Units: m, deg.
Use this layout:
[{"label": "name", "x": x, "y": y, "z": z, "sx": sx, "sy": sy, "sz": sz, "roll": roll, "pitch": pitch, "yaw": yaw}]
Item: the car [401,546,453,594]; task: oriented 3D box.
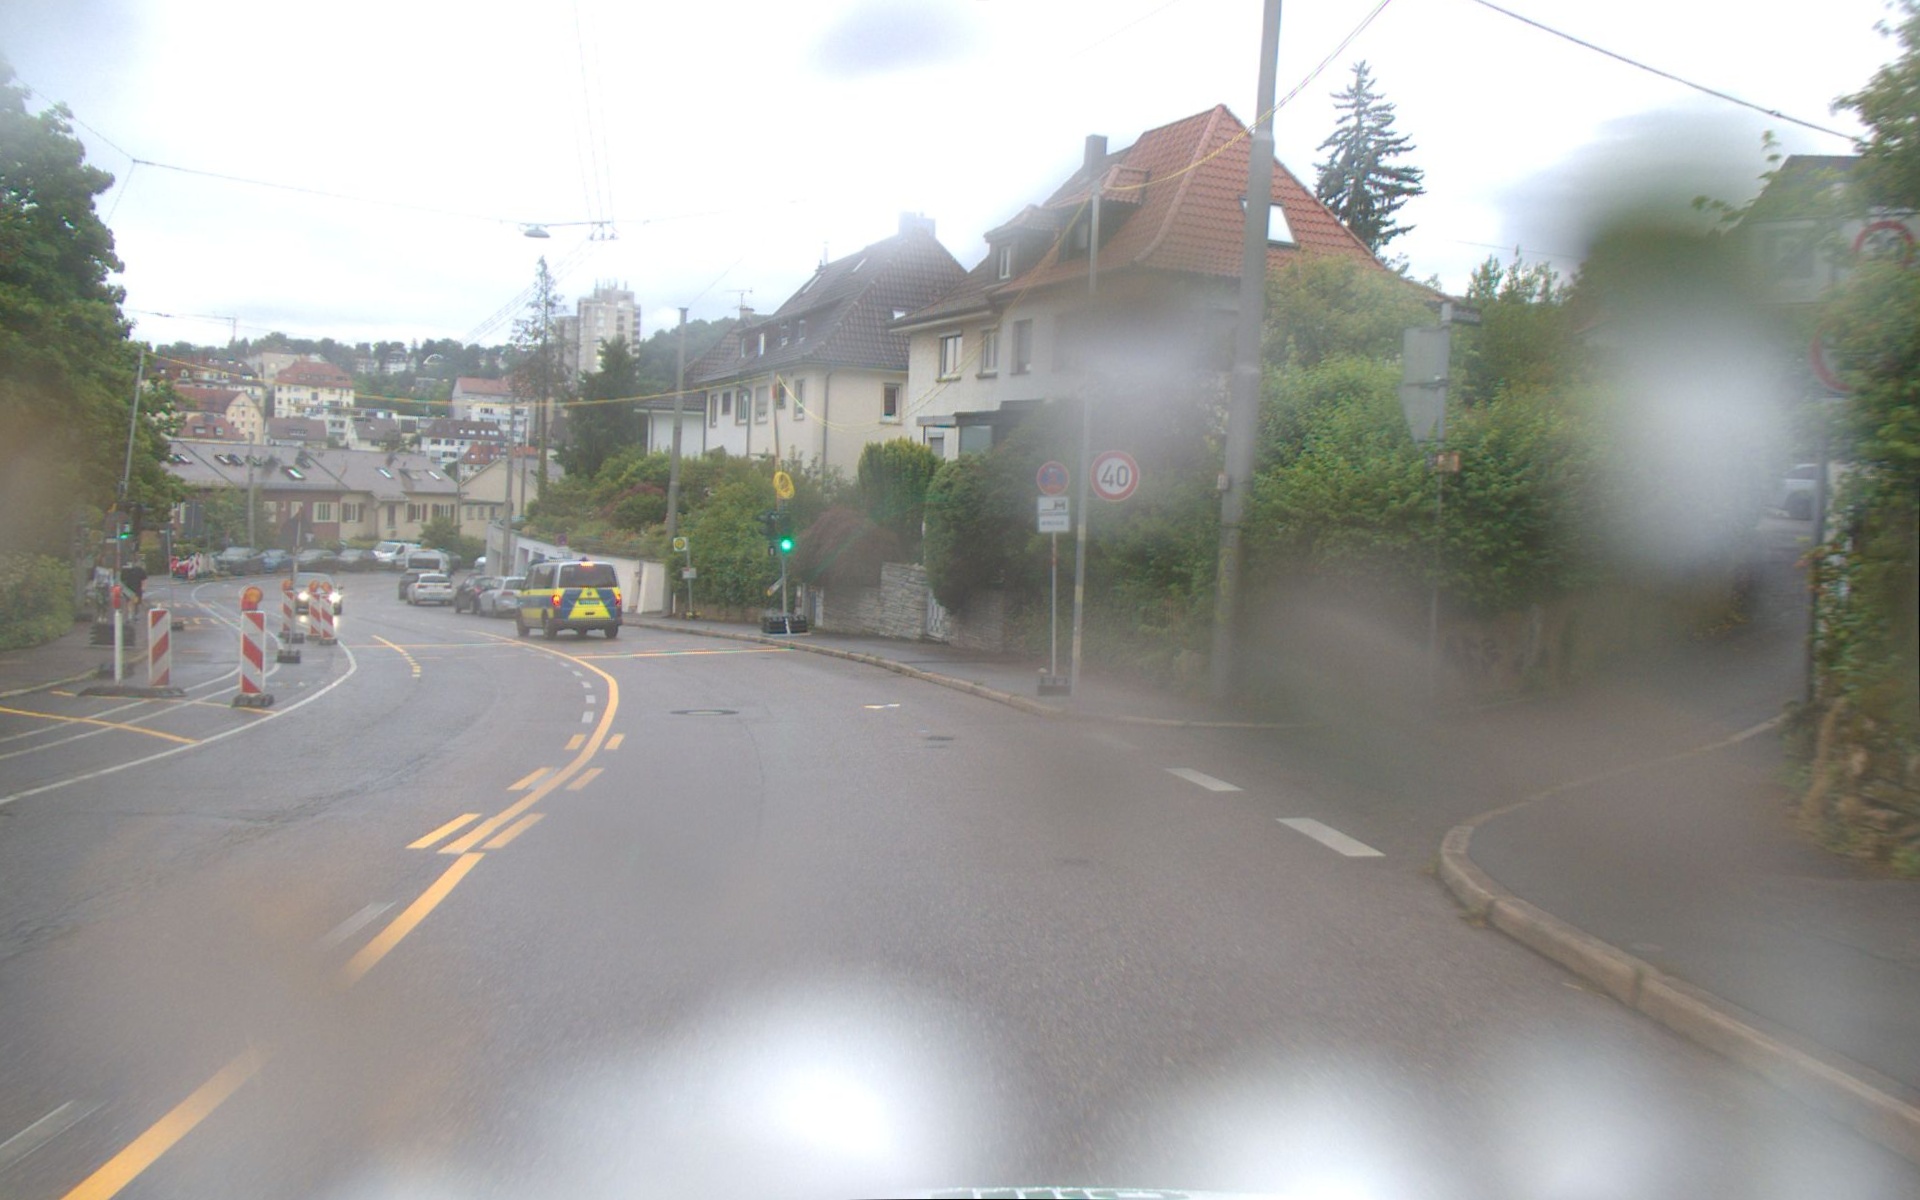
[{"label": "car", "x": -30.175, "y": -1.700, "z": 93.826, "sx": 2.061, "sy": 2.586, "sz": 5.606, "roll": 1, "pitch": 1, "yaw": -11}]

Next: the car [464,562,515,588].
[{"label": "car", "x": -30.935, "y": -1.639, "z": 108.755, "sx": 1.643, "sy": 1.509, "sz": 4.205, "roll": 4, "pitch": 1, "yaw": 7}]

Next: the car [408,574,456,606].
[{"label": "car", "x": -24.637, "y": -0.491, "z": 77.139, "sx": 1.683, "sy": 1.439, "sz": 4.011, "roll": 0, "pitch": 1, "yaw": -24}]

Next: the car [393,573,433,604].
[{"label": "car", "x": -29.119, "y": -0.650, "z": 88.109, "sx": 1.724, "sy": 1.521, "sz": 4.168, "roll": 1, "pitch": 1, "yaw": -15}]

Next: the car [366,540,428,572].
[{"label": "car", "x": -40.993, "y": -3.194, "z": 120.624, "sx": 1.809, "sy": 2.114, "sz": 5.025, "roll": 5, "pitch": 2, "yaw": 13}]

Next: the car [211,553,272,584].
[{"label": "car", "x": -42.809, "y": -1.894, "z": 98.588, "sx": 1.884, "sy": 1.604, "sz": 4.385, "roll": 5, "pitch": 2, "yaw": -4}]

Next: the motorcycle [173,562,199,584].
[{"label": "motorcycle", "x": -42.163, "y": -1.470, "z": 90.100, "sx": 0.499, "sy": 1.159, "sz": 1.923, "roll": 1, "pitch": 2, "yaw": 1}]

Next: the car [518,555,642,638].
[{"label": "car", "x": -10.008, "y": -0.150, "z": 43.304, "sx": 2.280, "sy": 1.973, "sz": 4.291, "roll": -2, "pitch": 2, "yaw": -25}]

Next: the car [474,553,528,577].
[{"label": "car", "x": -37.172, "y": -2.821, "z": 134.169, "sx": 1.889, "sy": 1.659, "sz": 4.680, "roll": 5, "pitch": 2, "yaw": 17}]

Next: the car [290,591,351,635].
[{"label": "car", "x": -23.931, "y": 0.455, "z": 61.810, "sx": 1.679, "sy": 1.486, "sz": 4.643, "roll": -1, "pitch": 1, "yaw": -27}]

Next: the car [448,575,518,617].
[{"label": "car", "x": -18.618, "y": -0.180, "z": 64.480, "sx": 1.696, "sy": 1.539, "sz": 3.958, "roll": 0, "pitch": 1, "yaw": -31}]

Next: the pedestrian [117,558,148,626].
[{"label": "pedestrian", "x": -23.022, "y": -0.226, "z": 46.020, "sx": 0.699, "sy": 1.848, "sz": 1.137, "roll": 1, "pitch": 1, "yaw": -28}]

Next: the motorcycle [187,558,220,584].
[{"label": "motorcycle", "x": -42.419, "y": -1.630, "z": 92.735, "sx": 1.766, "sy": 1.325, "sz": 0.613, "roll": 5, "pitch": 2, "yaw": 22}]

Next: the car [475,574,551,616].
[{"label": "car", "x": -16.278, "y": -0.212, "z": 60.115, "sx": 1.761, "sy": 1.445, "sz": 4.390, "roll": -1, "pitch": 1, "yaw": -28}]

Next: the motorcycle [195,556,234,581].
[{"label": "motorcycle", "x": -42.508, "y": -1.807, "z": 94.351, "sx": 1.886, "sy": 1.293, "sz": 0.568, "roll": 3, "pitch": 2, "yaw": -38}]

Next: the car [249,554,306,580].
[{"label": "car", "x": -42.817, "y": -2.109, "z": 103.860, "sx": 1.665, "sy": 1.428, "sz": 4.474, "roll": 5, "pitch": 2, "yaw": 0}]

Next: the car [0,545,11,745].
[{"label": "car", "x": -9.976, "y": 0.458, "z": 14.055, "sx": 1.770, "sy": 1.961, "sz": 4.568, "roll": -1, "pitch": 0, "yaw": -9}]

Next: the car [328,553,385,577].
[{"label": "car", "x": -41.851, "y": -2.403, "z": 114.857, "sx": 1.770, "sy": 1.502, "sz": 4.526, "roll": 4, "pitch": 2, "yaw": 7}]
